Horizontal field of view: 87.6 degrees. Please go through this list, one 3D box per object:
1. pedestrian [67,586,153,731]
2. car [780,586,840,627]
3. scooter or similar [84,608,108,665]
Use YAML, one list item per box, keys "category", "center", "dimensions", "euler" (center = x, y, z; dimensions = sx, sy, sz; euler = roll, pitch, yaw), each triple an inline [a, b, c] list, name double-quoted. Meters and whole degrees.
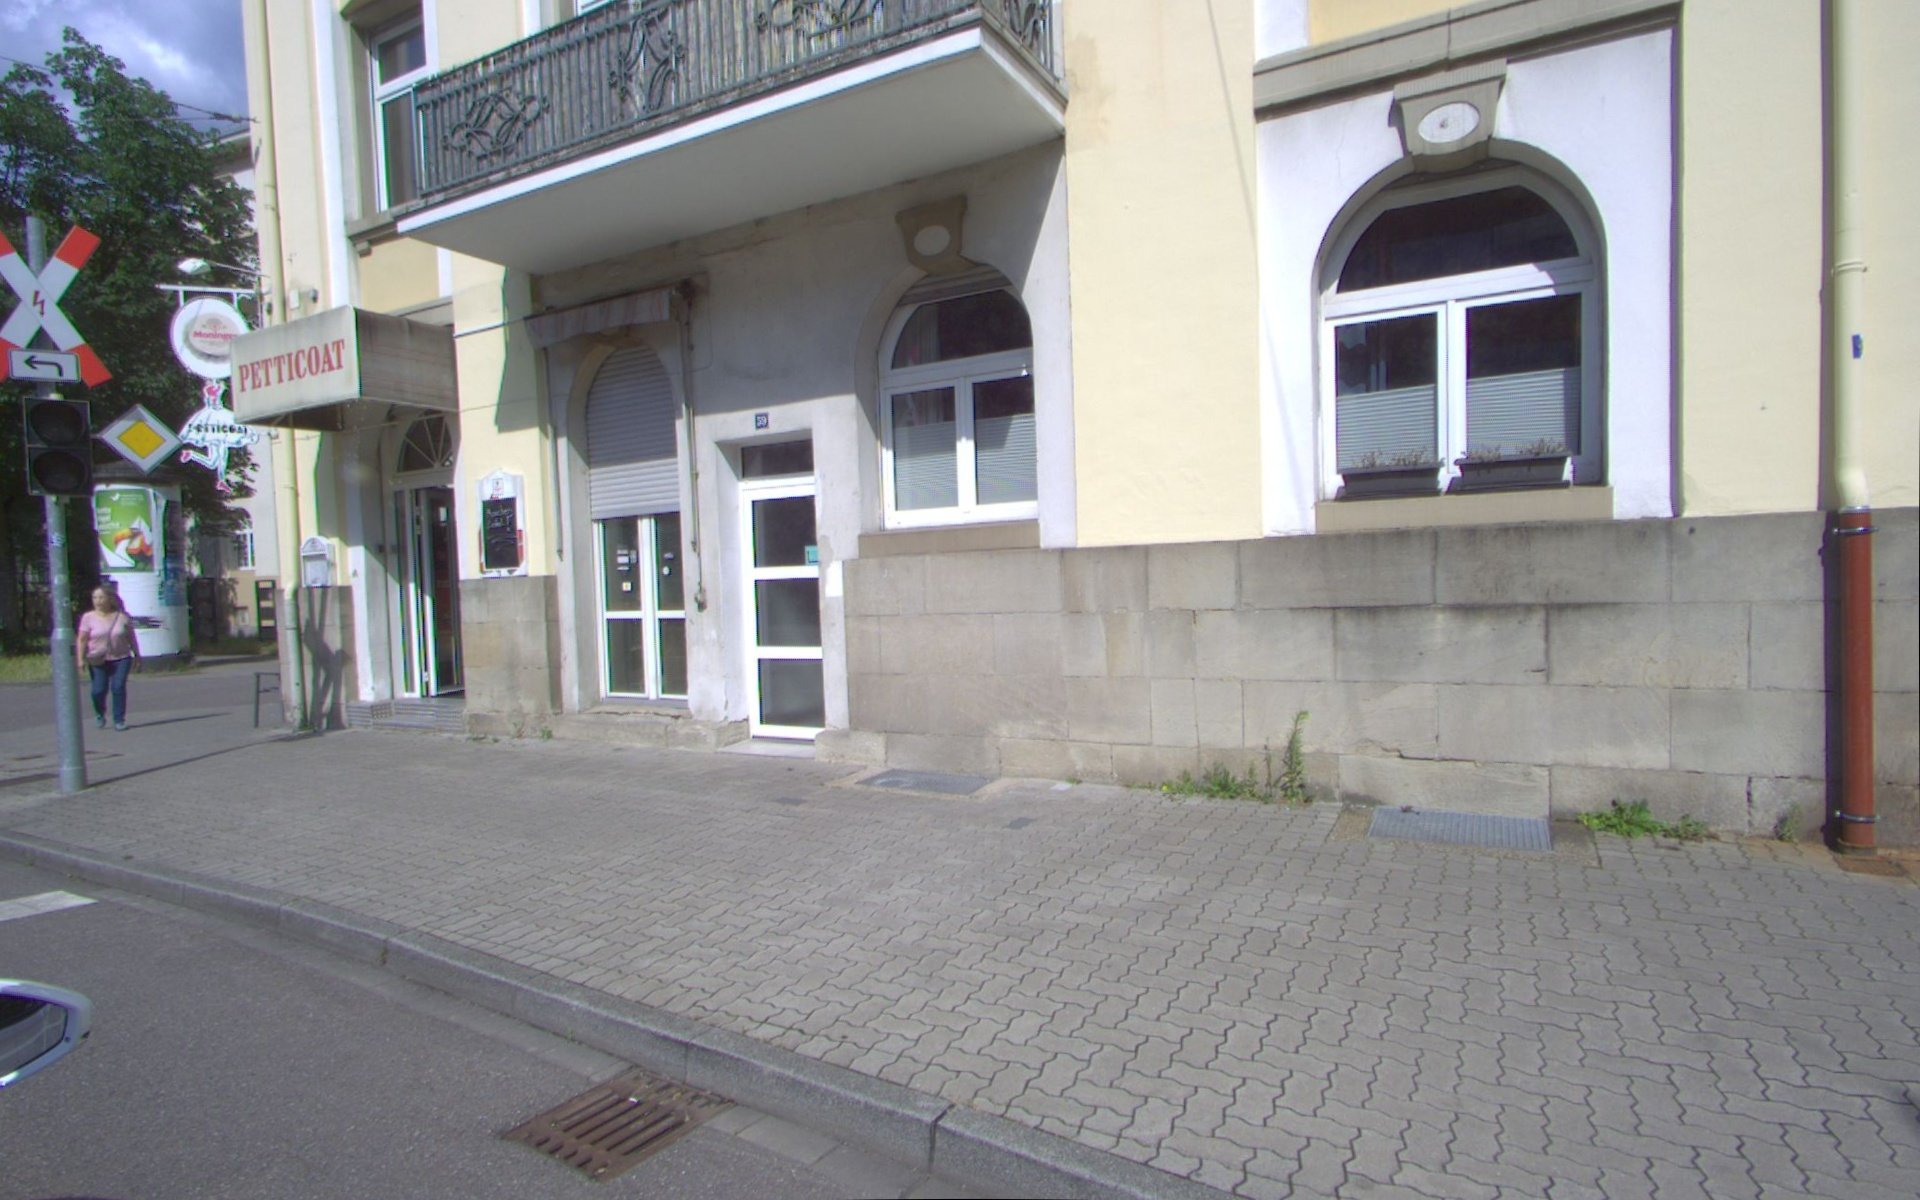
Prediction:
- category: "pedestrian"
  center: [-10.341, 0.688, 12.211]
  dimensions: [0.666, 1.671, 0.757]
  euler: [-4, 3, -38]
- category: "car"
  center: [-5.800, 0.210, 38.523]
  dimensions: [1.363, 1.476, 3.253]
  euler: [-2, 2, -25]
- category: "scooter or similar"
  center: [-18.765, 0.779, 21.749]
  dimensions: [0.303, 1.205, 1.151]
  euler: [-3, 3, -43]
